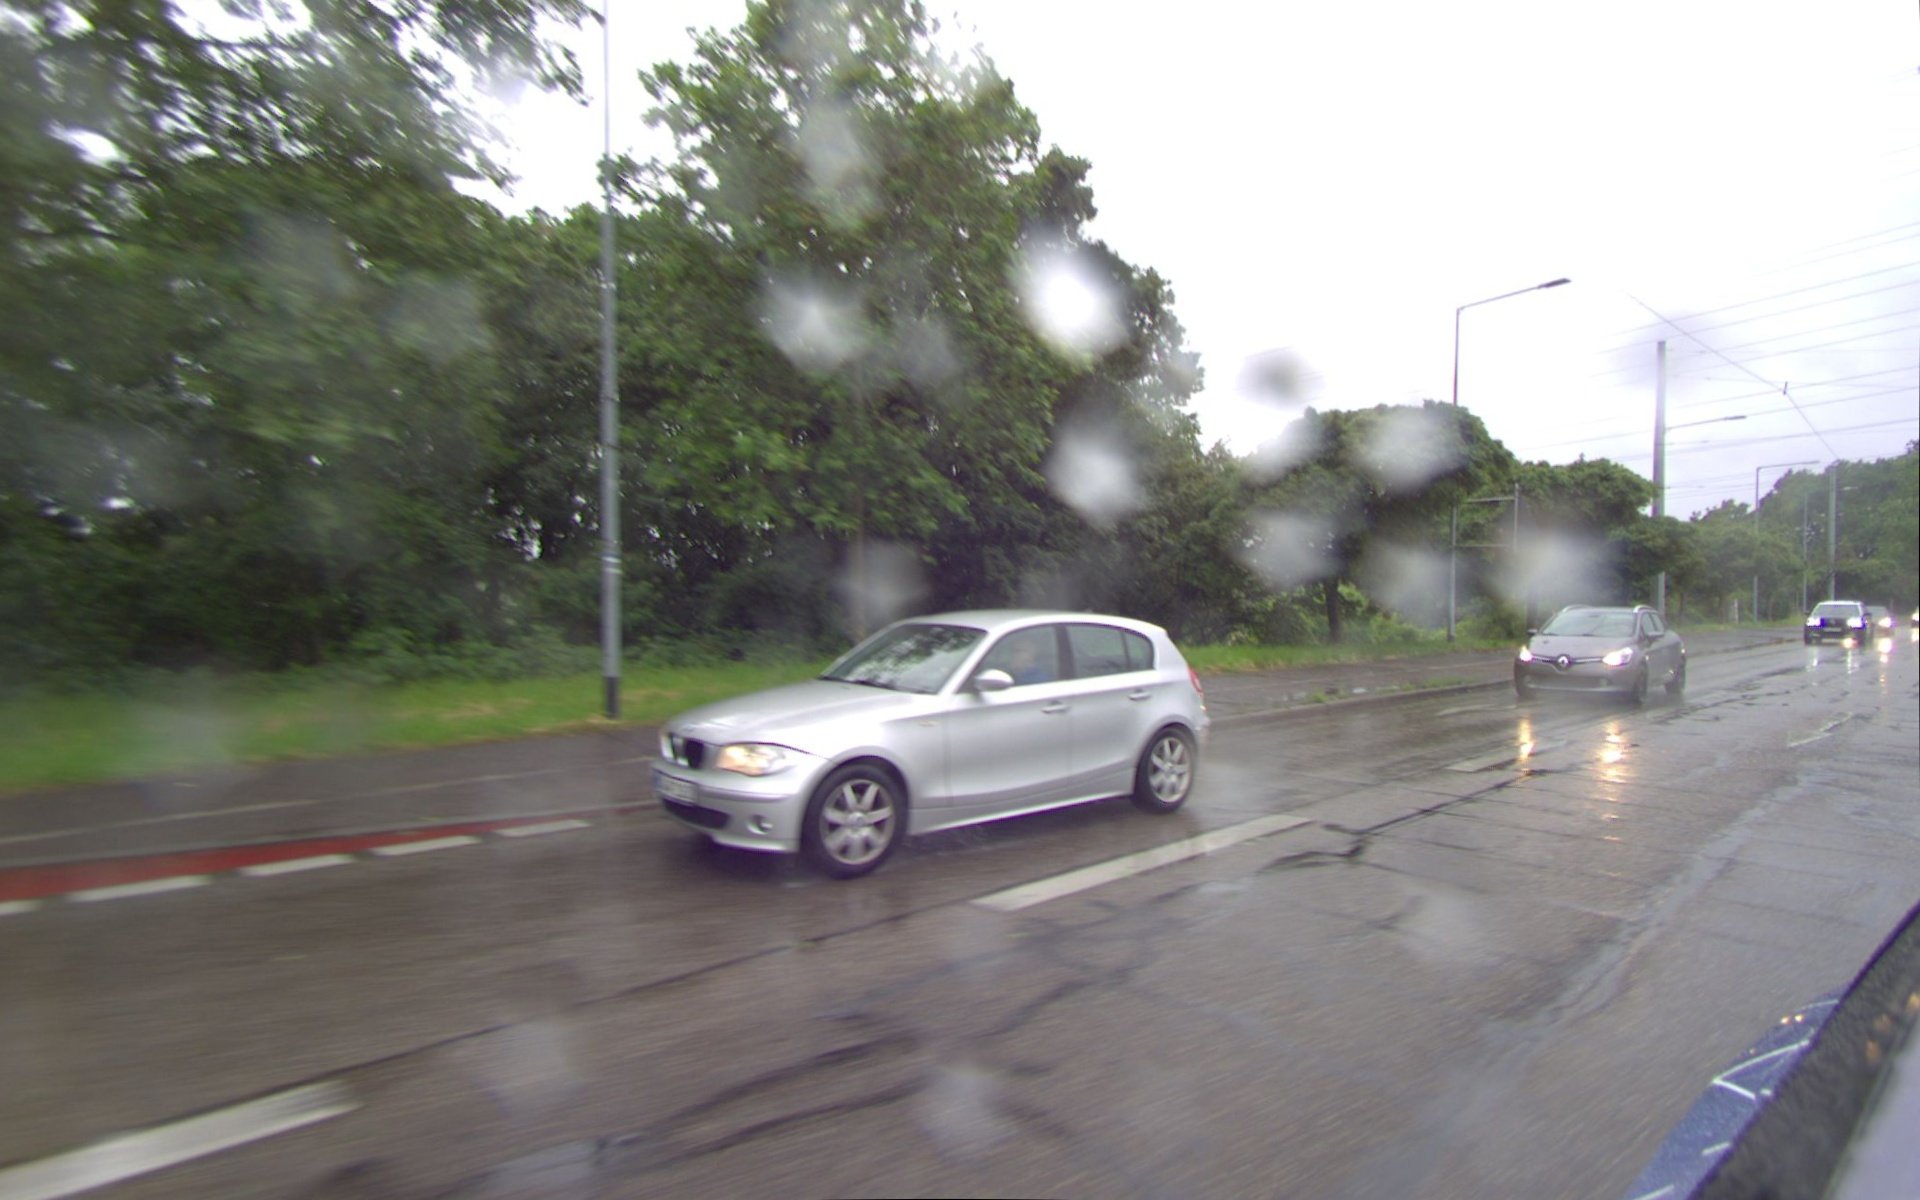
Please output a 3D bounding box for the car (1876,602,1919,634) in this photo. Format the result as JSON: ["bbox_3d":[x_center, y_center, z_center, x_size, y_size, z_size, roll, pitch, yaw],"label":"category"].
[{"bbox_3d":[44.388,0.848,47.399,3.930,1.445,1.782,1,0,-41],"label":"car"}]

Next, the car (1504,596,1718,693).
[{"bbox_3d":[10.659,0.659,16.463,4.203,1.374,1.890,1,-1,-42],"label":"car"}]

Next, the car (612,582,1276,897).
[{"bbox_3d":[0.147,0.710,6.971,4.522,1.522,1.630,1,-1,-39],"label":"car"}]

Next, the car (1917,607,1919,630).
[{"bbox_3d":[64.414,1.244,66.556,3.930,1.445,1.782,1,0,-41],"label":"car"}]

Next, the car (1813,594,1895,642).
[{"bbox_3d":[34.392,0.676,38.898,4.680,1.724,1.795,1,-1,-42],"label":"car"}]
